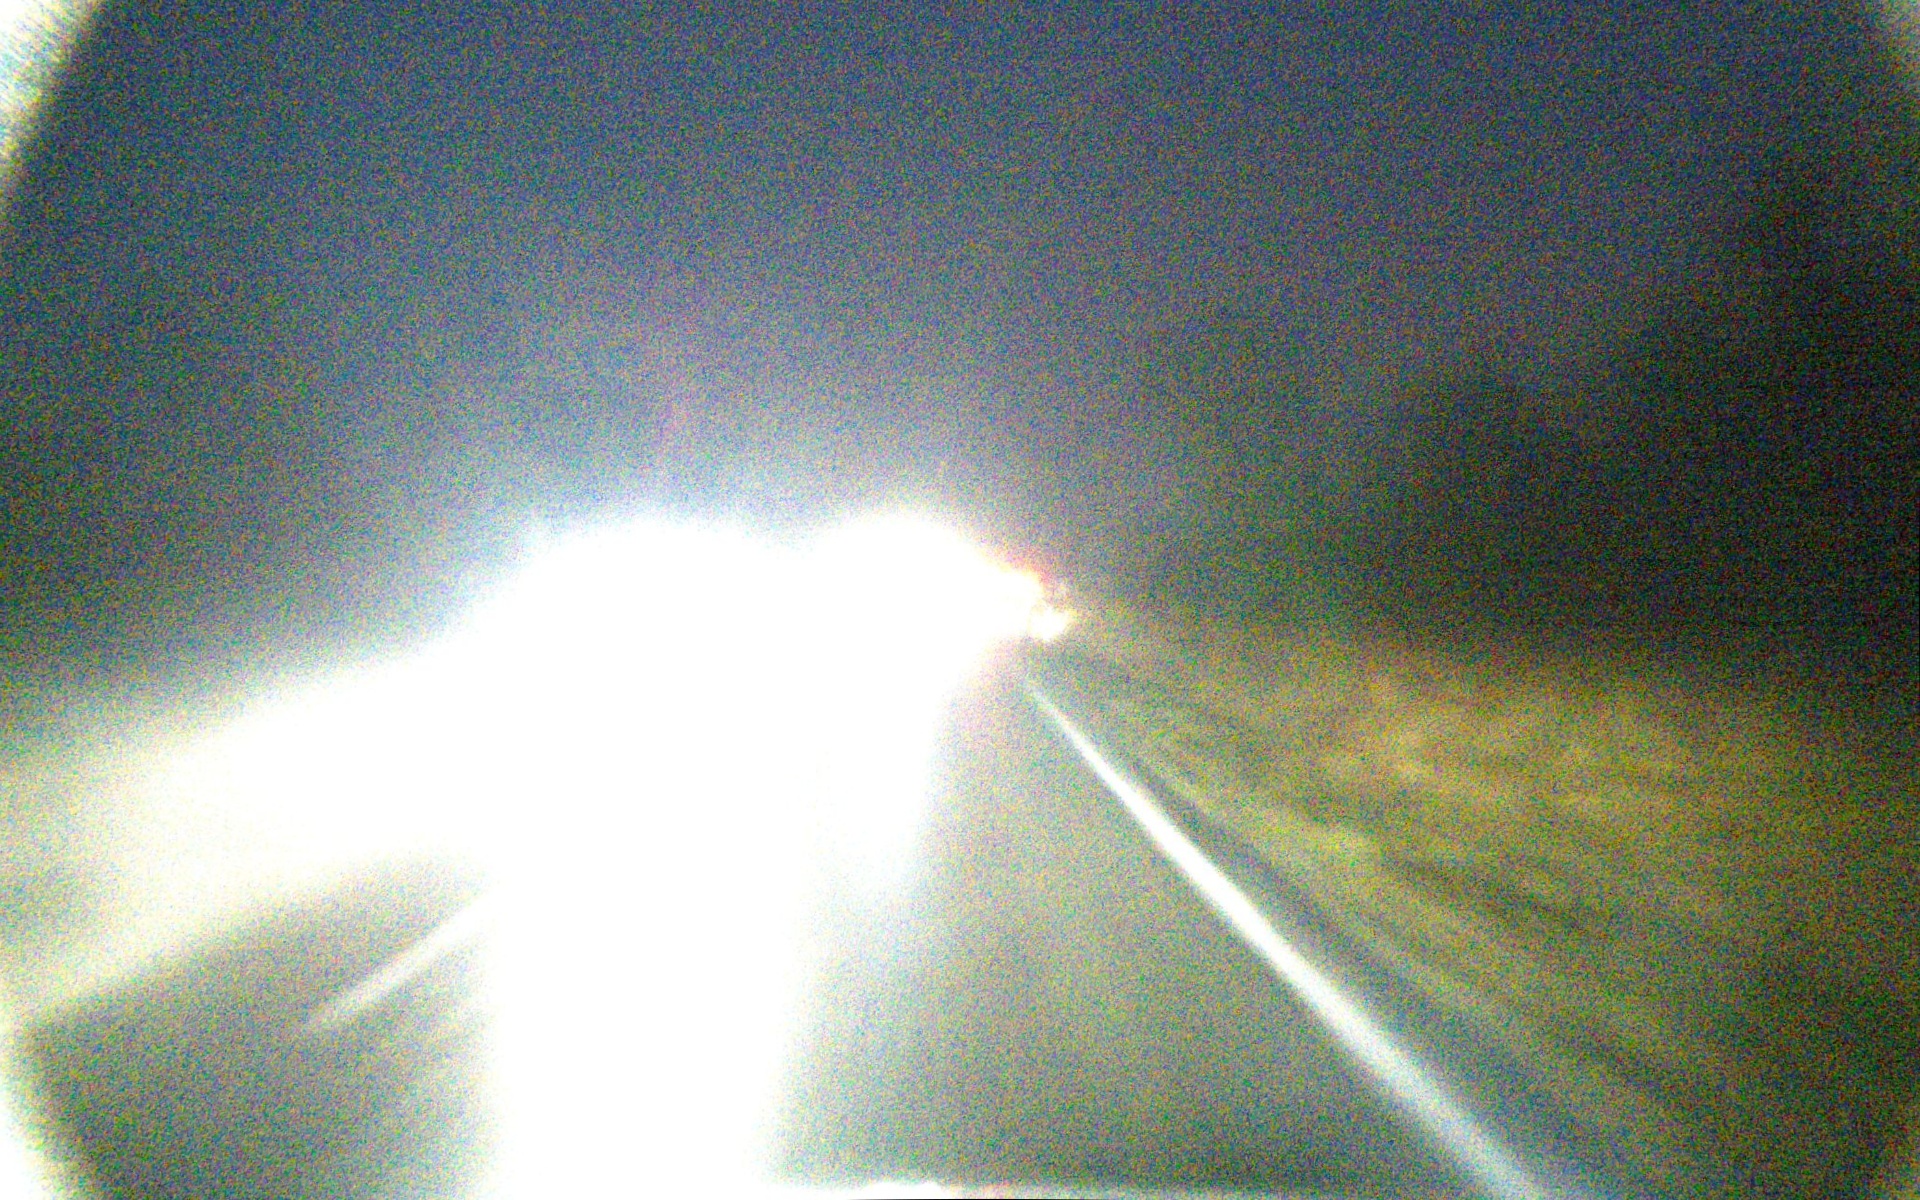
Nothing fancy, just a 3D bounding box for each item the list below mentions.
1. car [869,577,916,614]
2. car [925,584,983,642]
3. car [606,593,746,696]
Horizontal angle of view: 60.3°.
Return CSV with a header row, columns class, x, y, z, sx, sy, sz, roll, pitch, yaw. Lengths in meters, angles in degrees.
class,x,y,z,sx,sy,sz,roll,pitch,yaw
car,-3.166,-0.232,78.536,1.952,1.652,4.001,1,1,1
car,-0.181,0.387,53.799,1.805,1.771,4.000,0,1,0
car,-4.228,0.648,25.086,1.564,1.426,3.469,-1,-1,-1
